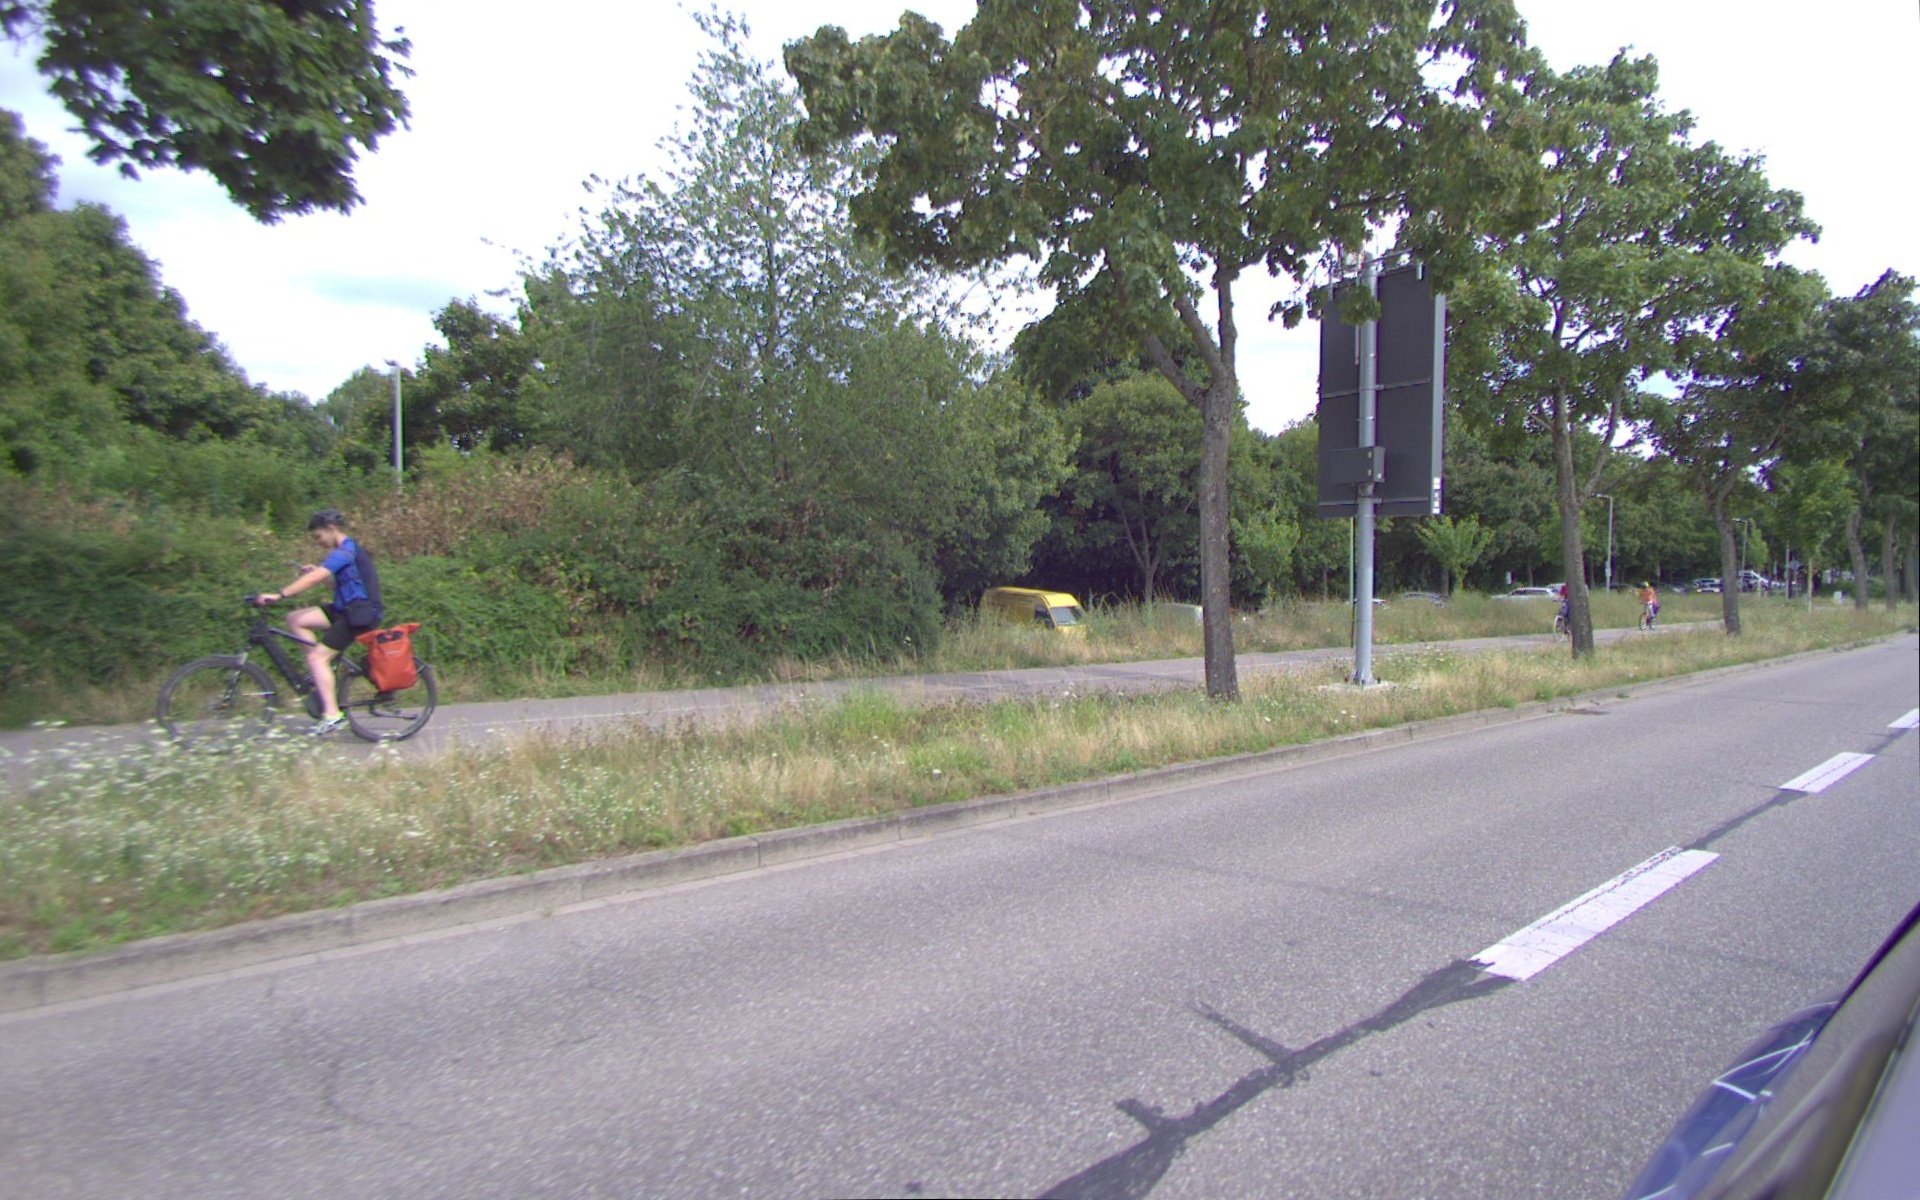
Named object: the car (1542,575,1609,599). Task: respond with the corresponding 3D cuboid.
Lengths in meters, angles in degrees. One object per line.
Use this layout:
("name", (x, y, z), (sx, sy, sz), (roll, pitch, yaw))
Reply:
("car", (46.143, -1.011, 75.929), (1.774, 1.605, 3.992), (-1, 3, -44))

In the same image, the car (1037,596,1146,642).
("car", (5.128, 0.690, 39.923), (1.964, 1.526, 3.997), (-1, 3, -39))

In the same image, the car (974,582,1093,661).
("car", (2.682, 0.717, 38.047), (1.890, 2.703, 4.543), (0, 2, -38))

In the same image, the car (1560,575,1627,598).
("car", (48.206, -1.058, 77.004), (1.774, 1.605, 3.992), (-1, 3, -44))

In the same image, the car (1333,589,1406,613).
("car", (22.080, 0.028, 54.624), (3.438, 1.205, 1.337), (2, 2, 44))

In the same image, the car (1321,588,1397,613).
("car", (20.752, -0.006, 52.664), (3.438, 1.205, 1.337), (2, 2, 44))

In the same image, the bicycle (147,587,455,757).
("bicycle", (-5.065, 0.491, 7.873), (1.948, 1.162, 0.574), (0, 2, -42))

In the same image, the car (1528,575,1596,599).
("car", (43.741, -0.959, 73.559), (3.988, 1.574, 1.625), (3, 3, 44))

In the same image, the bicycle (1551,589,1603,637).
("bicycle", (16.194, 0.316, 26.543), (2.193, 1.162, 0.514), (-1, 3, -42))

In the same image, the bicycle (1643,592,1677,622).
("bicycle", (23.826, 0.224, 34.445), (1.752, 0.976, 0.514), (-1, 3, -42))

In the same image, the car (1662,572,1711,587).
("car", (75.340, -2.112, 104.992), (3.988, 1.383, 1.594), (3, 3, 44))

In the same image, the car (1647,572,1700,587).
("car", (69.865, -2.015, 99.126), (3.988, 1.383, 1.594), (3, 3, 44))

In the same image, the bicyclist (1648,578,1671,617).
("bicyclist", (23.784, -0.085, 34.403), (0.442, 1.298, 0.539), (-1, 1, -41))

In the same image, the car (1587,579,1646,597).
("car", (56.351, -1.017, 86.934), (3.988, 1.383, 1.594), (3, 3, 44))

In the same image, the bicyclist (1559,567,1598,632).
("bicyclist", (16.201, -0.019, 26.507), (0.767, 1.678, 0.653), (-1, 1, -41))

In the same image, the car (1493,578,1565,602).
("car", (38.563, -0.684, 68.638), (3.988, 1.461, 1.625), (3, 3, 44))

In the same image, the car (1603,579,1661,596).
("car", (59.070, -1.128, 88.999), (3.988, 1.383, 1.594), (3, 3, 44))

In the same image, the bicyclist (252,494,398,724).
("bicyclist", (-4.977, 0.054, 7.935), (0.861, 1.678, 0.653), (-1, 1, -41))

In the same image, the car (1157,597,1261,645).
("car", (10.840, 0.854, 44.215), (1.966, 1.816, 3.993), (-1, 3, -42))
